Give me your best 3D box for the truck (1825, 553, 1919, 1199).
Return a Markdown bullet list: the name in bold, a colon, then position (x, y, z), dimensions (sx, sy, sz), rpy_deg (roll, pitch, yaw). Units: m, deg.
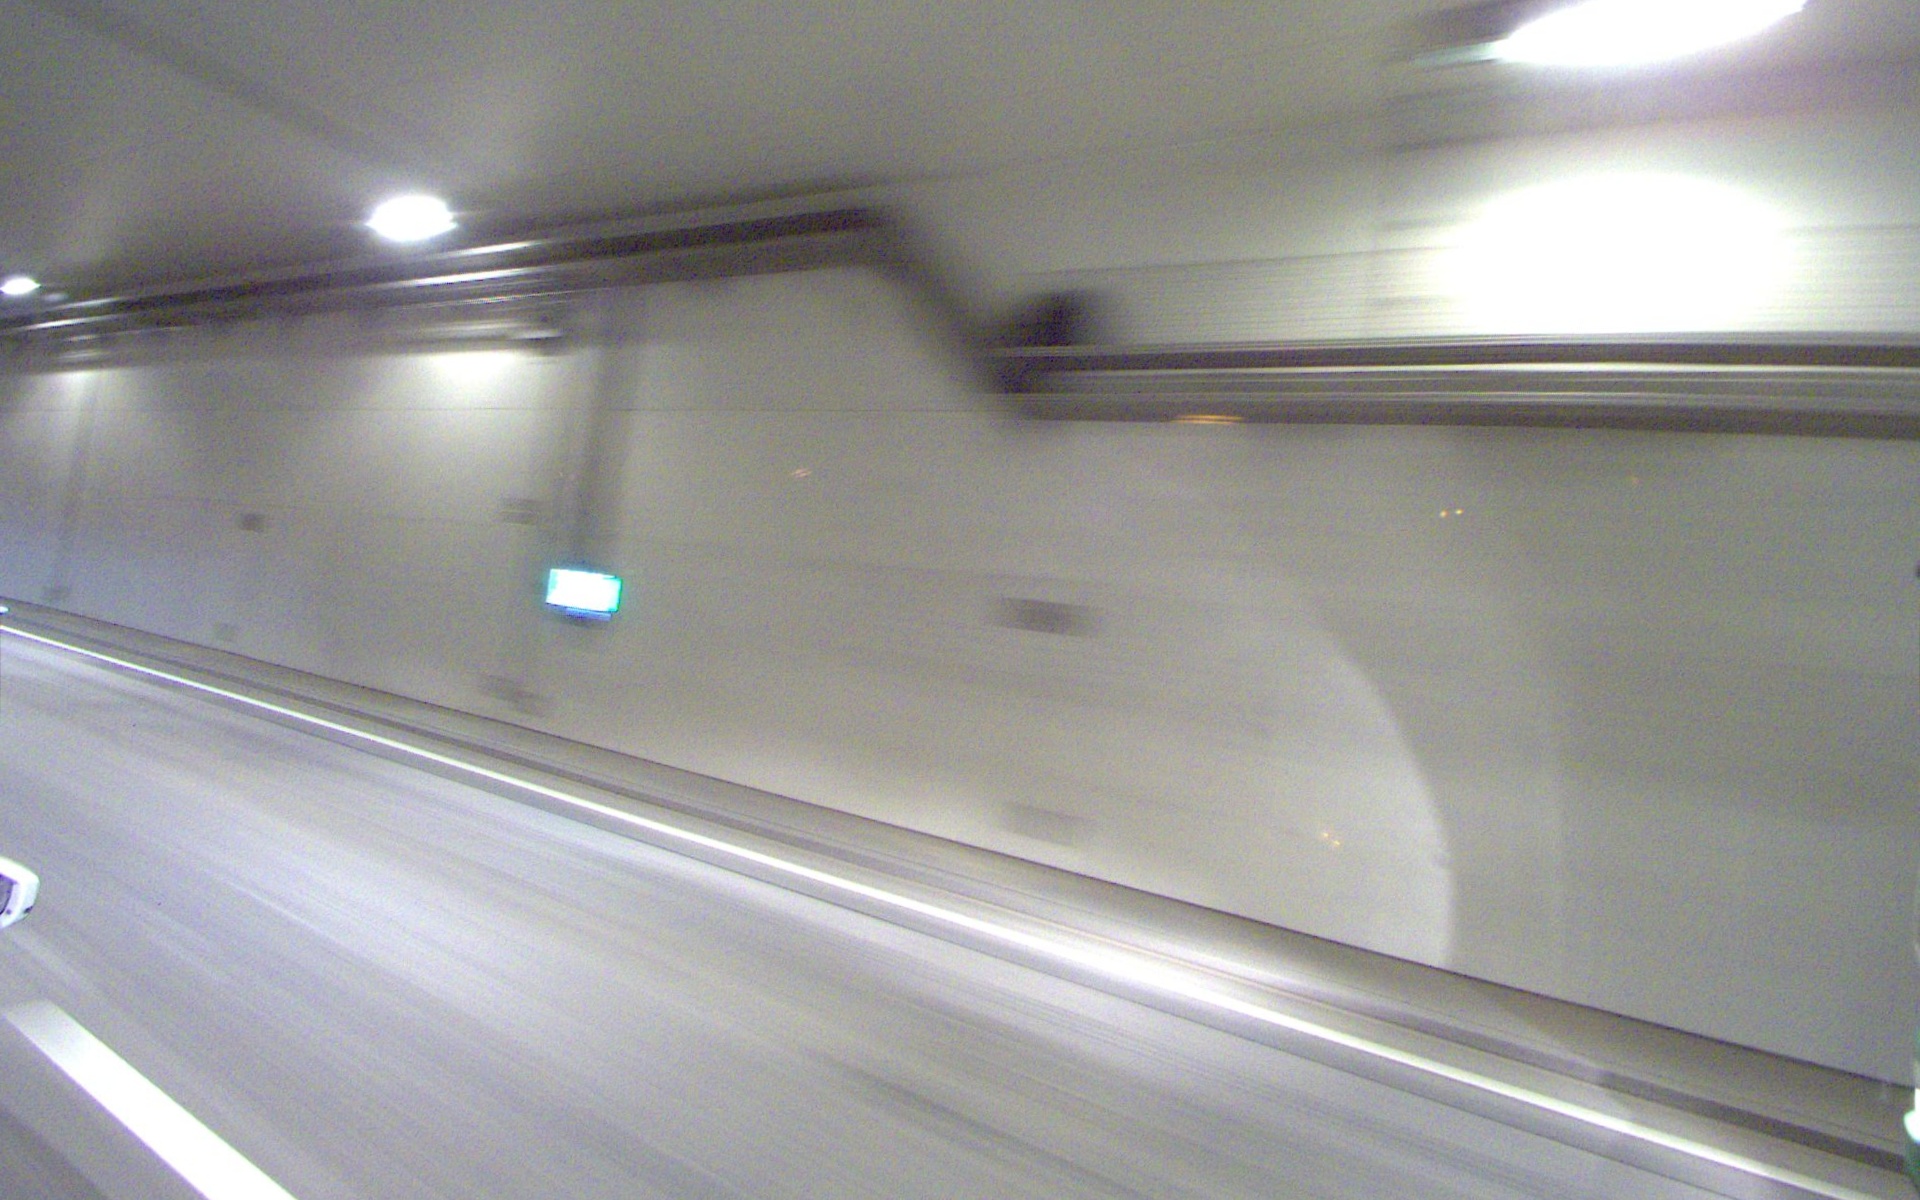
- **truck**: position (5.475, 0.679, 0.380), dimensions (7.123, 3.218, 2.559), rpy_deg (8, -1, 31)
